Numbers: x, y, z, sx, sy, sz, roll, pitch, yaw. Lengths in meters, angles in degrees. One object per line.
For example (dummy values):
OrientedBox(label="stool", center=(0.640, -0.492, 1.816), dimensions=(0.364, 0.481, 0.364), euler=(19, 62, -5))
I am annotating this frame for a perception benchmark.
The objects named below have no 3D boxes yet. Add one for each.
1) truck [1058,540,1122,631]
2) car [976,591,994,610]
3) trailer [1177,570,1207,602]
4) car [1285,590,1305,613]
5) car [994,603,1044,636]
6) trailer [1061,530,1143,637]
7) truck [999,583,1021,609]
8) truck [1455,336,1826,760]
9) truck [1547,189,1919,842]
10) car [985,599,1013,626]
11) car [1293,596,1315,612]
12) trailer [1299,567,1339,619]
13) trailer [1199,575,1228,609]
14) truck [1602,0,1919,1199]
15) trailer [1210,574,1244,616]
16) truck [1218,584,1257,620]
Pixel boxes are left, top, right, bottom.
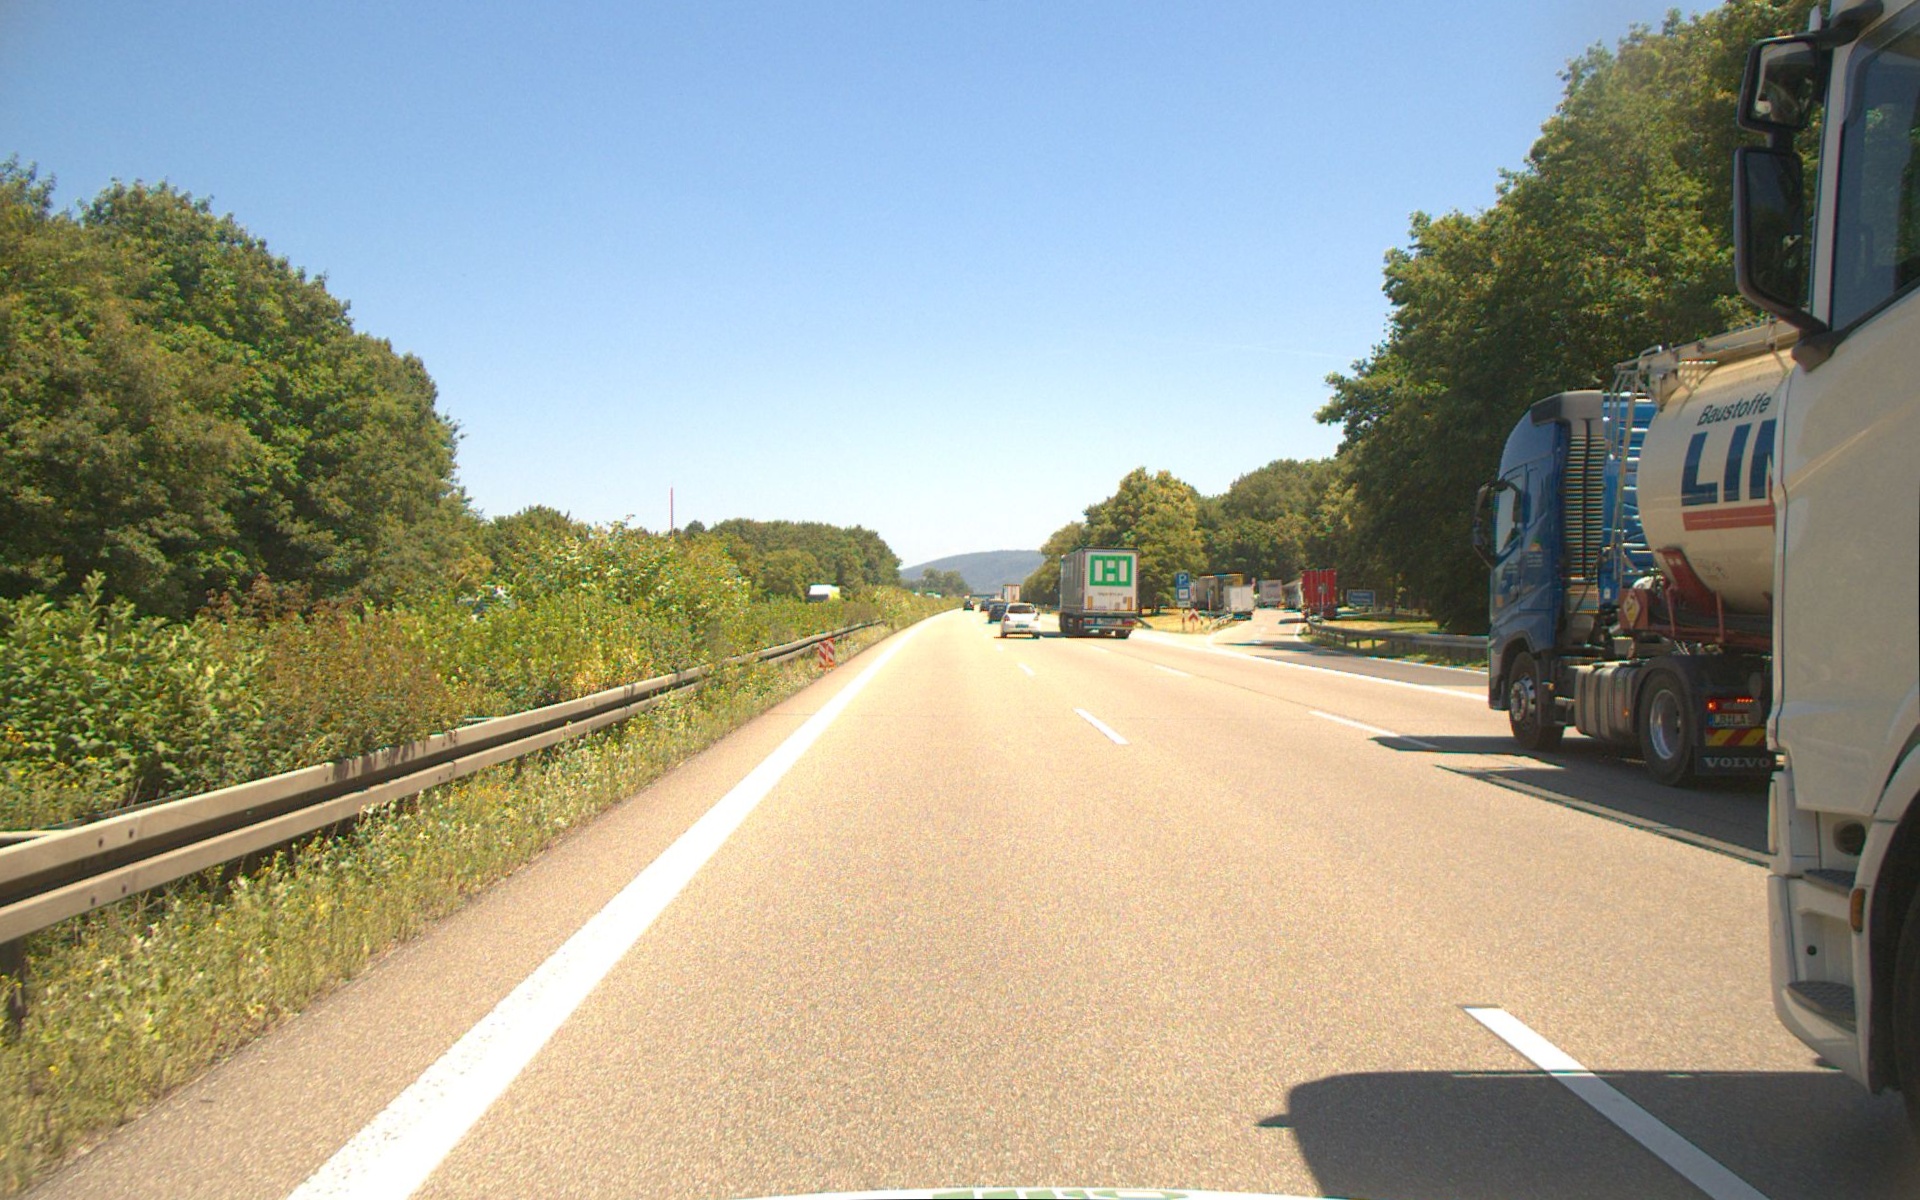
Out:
OrientedBox(label="truck", center=(6.848, -0.744, 87.947), dimensions=(3.116, 4.688, 5.948), euler=(0, 0, 1))
OrientedBox(label="car", center=(2.801, 0.055, 186.790), dimensions=(1.844, 2.049, 3.999), euler=(-1, 0, -1))
OrientedBox(label="trailer", center=(30.818, -1.781, 219.965), dimensions=(3.069, 4.021, 14.204), euler=(-1, 0, 5))
OrientedBox(label="car", center=(37.147, 0.147, 183.379), dimensions=(1.951, 2.482, 4.783), euler=(-1, 0, 9))
OrientedBox(label="car", center=(2.591, 0.846, 73.342), dimensions=(1.776, 1.429, 3.313), euler=(0, 0, -6))
OrientedBox(label="trailer", center=(6.655, -0.734, 79.321), dimensions=(3.116, 4.708, 12.052), euler=(0, 0, 1))
OrientedBox(label="truck", center=(7.632, -0.653, 254.187), dimensions=(3.256, 3.822, 12.797), euler=(1, 0, 1))
OrientedBox(label="truck", center=(7.250, -0.502, 18.161), dimensions=(2.399, 4.108, 4.071), euler=(0, 0, 0))
OrientedBox(label="truck", center=(7.241, -0.525, 11.752), dimensions=(2.393, 4.114, 10.541), euler=(0, 0, 0))
OrientedBox(label="car", center=(2.885, 0.895, 120.925), dimensions=(1.857, 1.926, 4.002), euler=(-1, 0, 3))
OrientedBox(label="car", center=(33.861, 0.391, 162.723), dimensions=(1.951, 1.476, 5.038), euler=(-1, 0, 10))
OrientedBox(label="trailer", center=(28.779, -0.553, 132.701), dimensions=(2.915, 3.946, 12.899), euler=(-1, 0, 12))
OrientedBox(label="trailer", center=(30.533, -0.918, 199.840), dimensions=(3.036, 3.856, 13.373), euler=(1, 0, 7))
OrientedBox(label="truck", center=(3.819, -0.699, 3.385), dimensions=(3.163, 4.230, 4.558), euler=(0, 0, -2))
OrientedBox(label="trailer", center=(26.178, -0.468, 162.070), dimensions=(3.116, 4.004, 11.560), euler=(0, 0, 9))
OrientedBox(label="truck", center=(24.254, 0.174, 144.871), dimensions=(2.416, 2.997, 7.662), euler=(0, 0, 3))
